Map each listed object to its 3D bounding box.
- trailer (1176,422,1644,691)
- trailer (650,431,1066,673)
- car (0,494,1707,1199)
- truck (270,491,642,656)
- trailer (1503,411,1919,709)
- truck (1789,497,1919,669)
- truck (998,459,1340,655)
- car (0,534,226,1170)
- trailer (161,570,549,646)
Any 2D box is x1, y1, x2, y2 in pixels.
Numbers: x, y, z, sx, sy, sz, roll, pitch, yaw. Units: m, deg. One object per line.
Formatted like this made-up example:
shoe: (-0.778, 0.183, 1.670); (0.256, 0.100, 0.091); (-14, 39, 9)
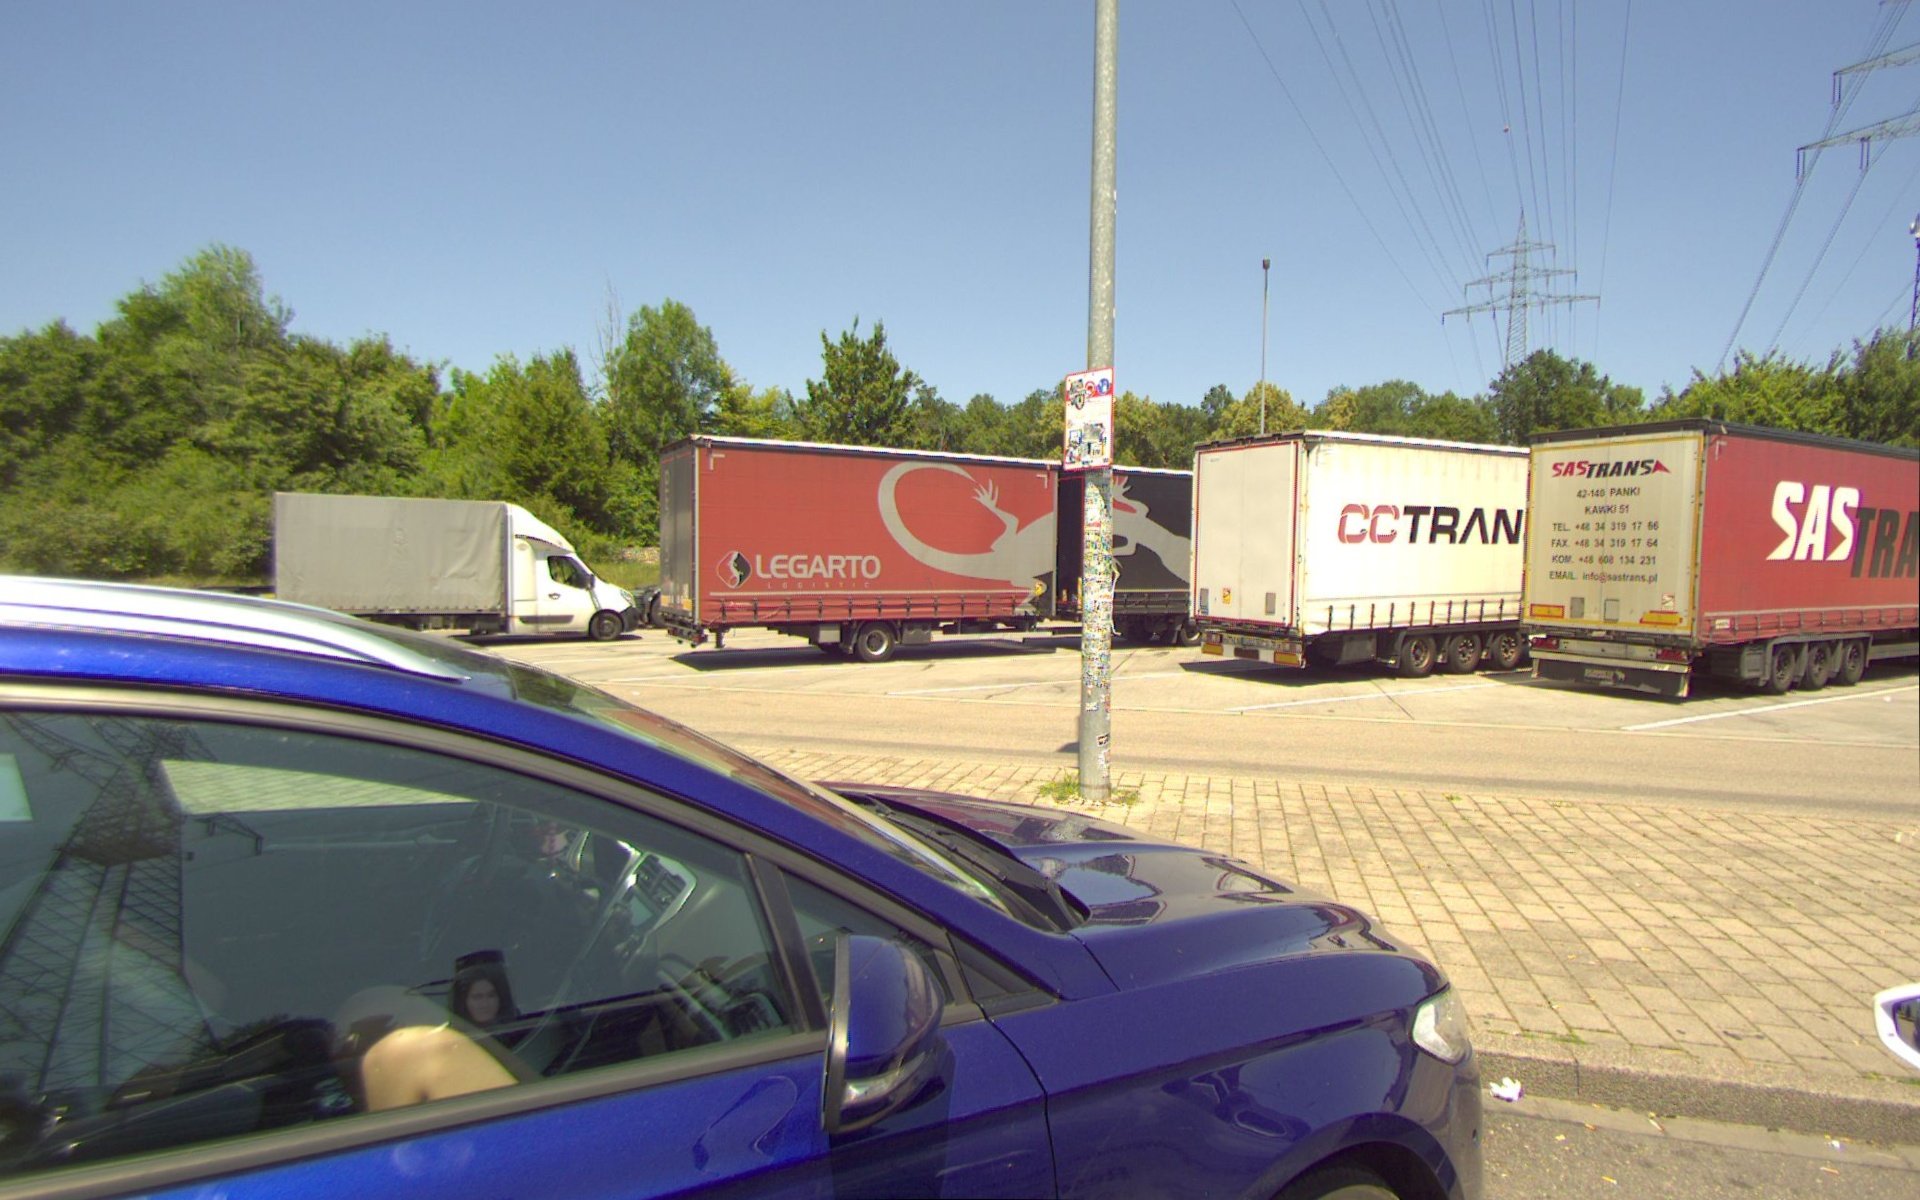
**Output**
trailer: (8.965, -0.770, 19.339); (10.264, 4.158, 2.693); (-1, 3, -30)
trailer: (-1.889, -0.903, 20.323); (8.007, 4.127, 2.693); (-1, 3, -30)
car: (-0.977, 0.652, 1.445); (4.522, 1.491, 1.743); (0, 2, -32)
truck: (-11.247, -0.622, 22.986); (7.187, 3.289, 2.694); (-1, 3, -29)
trailer: (15.459, -0.676, 18.606); (13.599, 4.127, 2.807); (-1, 3, -31)
truck: (21.251, -0.403, 22.044); (5.903, 3.409, 2.798); (-1, 3, -30)
truck: (5.264, -0.998, 24.533); (8.586, 4.127, 2.693); (-1, 3, -30)
car: (-4.419, 0.579, 2.081); (4.522, 1.526, 1.743); (0, 2, -32)
trailer: (-14.758, 0.105, 25.224); (8.007, 1.648, 2.199); (-1, 3, -30)
